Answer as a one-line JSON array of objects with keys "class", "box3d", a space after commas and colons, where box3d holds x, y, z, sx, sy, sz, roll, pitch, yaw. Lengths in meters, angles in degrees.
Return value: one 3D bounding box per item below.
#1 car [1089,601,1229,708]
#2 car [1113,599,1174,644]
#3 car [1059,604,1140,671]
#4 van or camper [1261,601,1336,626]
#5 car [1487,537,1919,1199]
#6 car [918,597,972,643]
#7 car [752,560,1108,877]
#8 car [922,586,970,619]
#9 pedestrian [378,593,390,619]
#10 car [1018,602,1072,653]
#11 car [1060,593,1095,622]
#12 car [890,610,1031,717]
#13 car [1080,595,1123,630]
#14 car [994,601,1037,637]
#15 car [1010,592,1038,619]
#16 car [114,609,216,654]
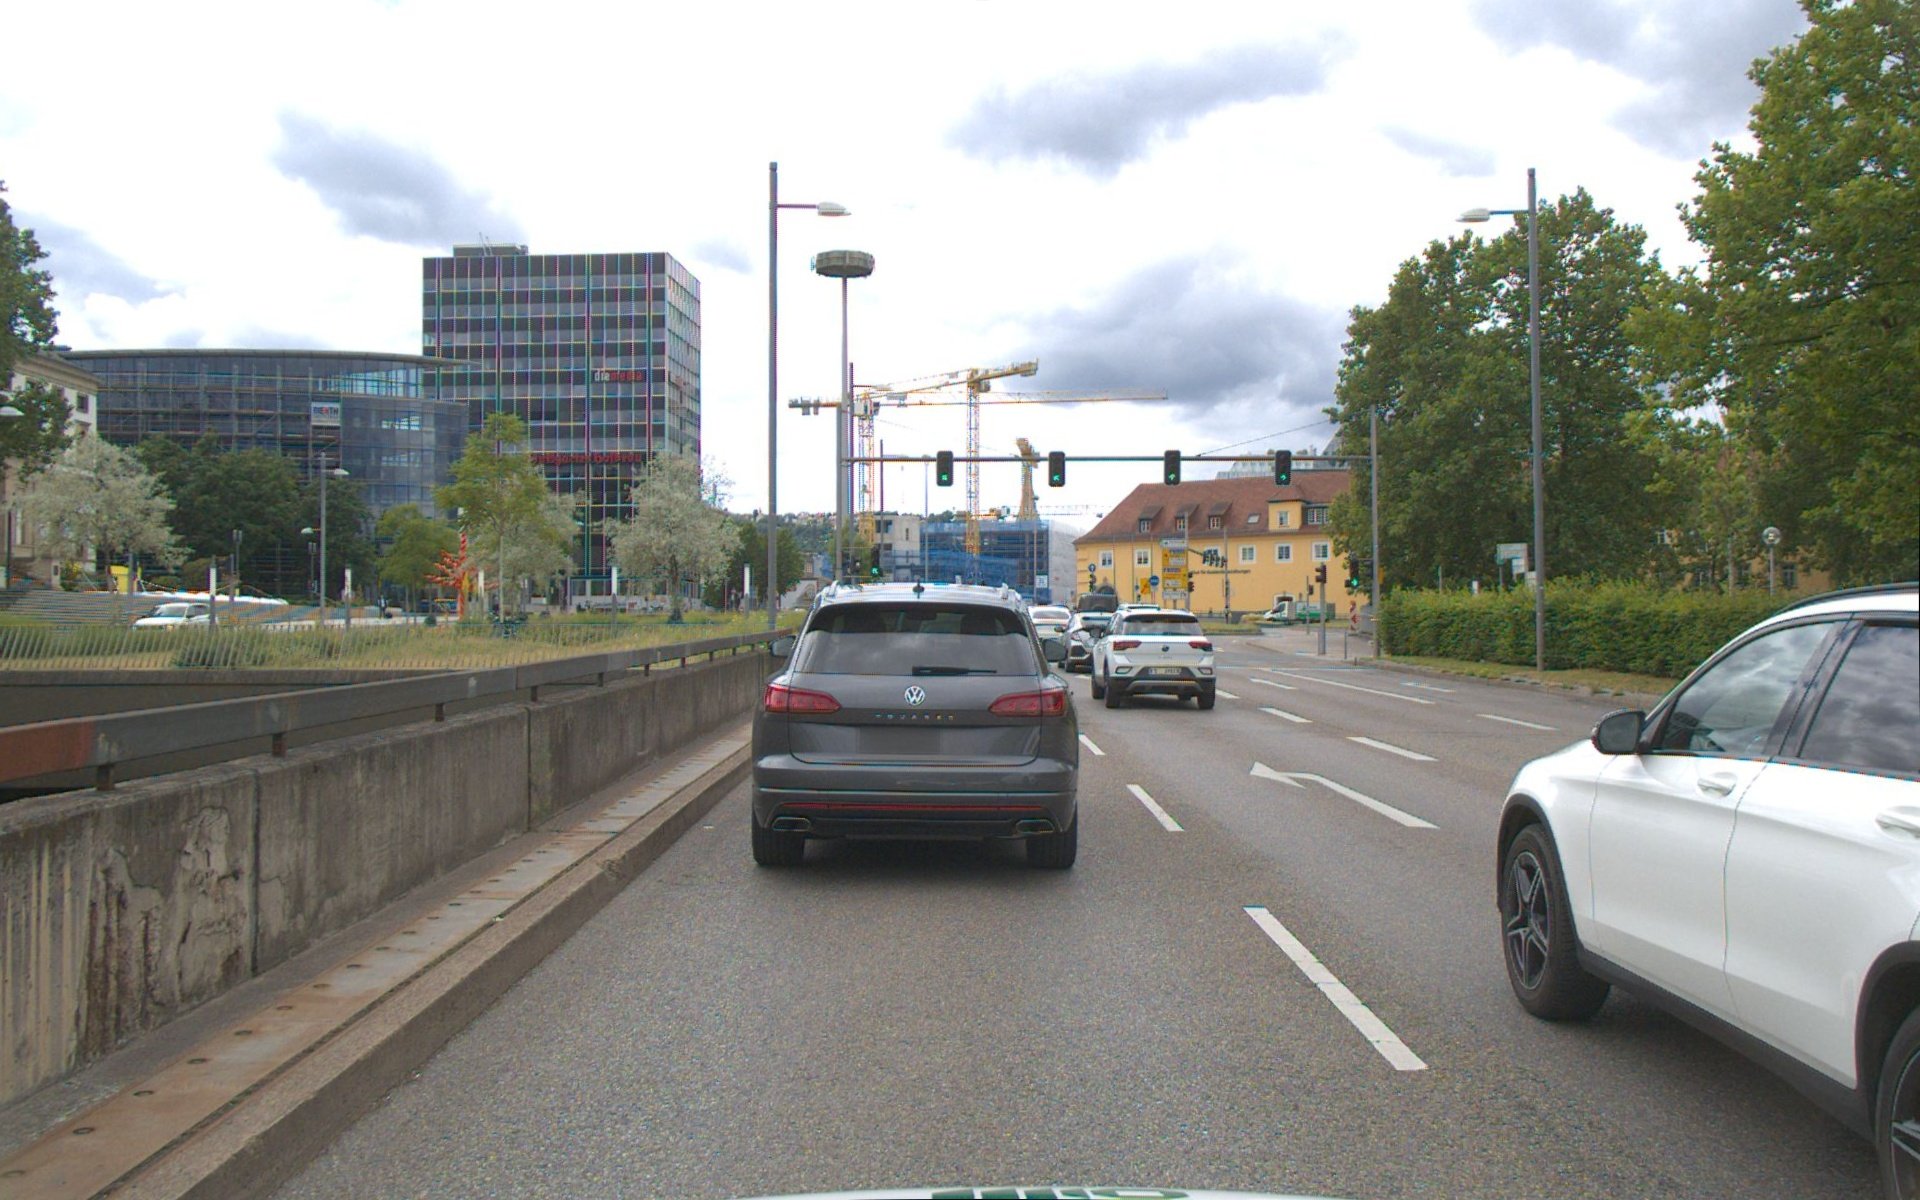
[{"class": "car", "box3d": [3.228, 0.841, 27.490, 1.855, 1.613, 3.800, 1, 0, 0]}, {"class": "car", "box3d": [6.554, 0.759, 59.439, 1.766, 1.529, 3.981, 1, 0, 1]}, {"class": "car", "box3d": [3.394, 0.892, 40.838, 1.683, 1.529, 4.144, 1, 0, 1]}, {"class": "van or camper", "box3d": [28.463, 1.141, 139.165, 5.903, 2.049, 2.012, 0, -1, 36]}, {"class": "car", "box3d": [3.095, 0.701, 4.804, 1.781, 1.676, 4.379, 1, 0, 1]}, {"class": "car", "box3d": [-0.516, 0.678, 57.487, 1.777, 1.522, 3.906, 1, 0, 0]}, {"class": "car", "box3d": [-0.172, 0.629, 10.871, 1.893, 1.676, 4.000, 1, 0, 0]}, {"class": "car", "box3d": [-0.650, 0.119, 80.812, 2.198, 1.529, 4.612, 1, 0, 1]}, {"class": "pedestrian", "box3d": [-37.541, 0.388, 107.787, 0.513, 1.678, 0.650, 1, -1, -2]}, {"class": "car", "box3d": [2.756, 0.855, 53.520, 1.683, 1.529, 3.983, 1, 0, 3]}, {"class": "car", "box3d": [6.426, 0.410, 90.488, 1.683, 1.529, 3.981, 1, 0, 1]}, {"class": "car", "box3d": [-0.010, 0.895, 25.010, 1.953, 1.411, 4.000, 0, 0, 0]}, {"class": "car", "box3d": [6.438, 0.551, 75.602, 1.683, 1.529, 3.981, 1, 0, 1]}, {"class": "car", "box3d": [2.784, 0.975, 83.865, 2.095, 1.758, 4.070, 0, -1, 1]}, {"class": "car", "box3d": [4.875, 0.423, 126.273, 1.953, 2.049, 4.000, 1, 0, 0]}, {"class": "car", "box3d": [-30.802, 1.182, 64.205, 1.683, 1.602, 4.613, 0, 0, 1]}]
